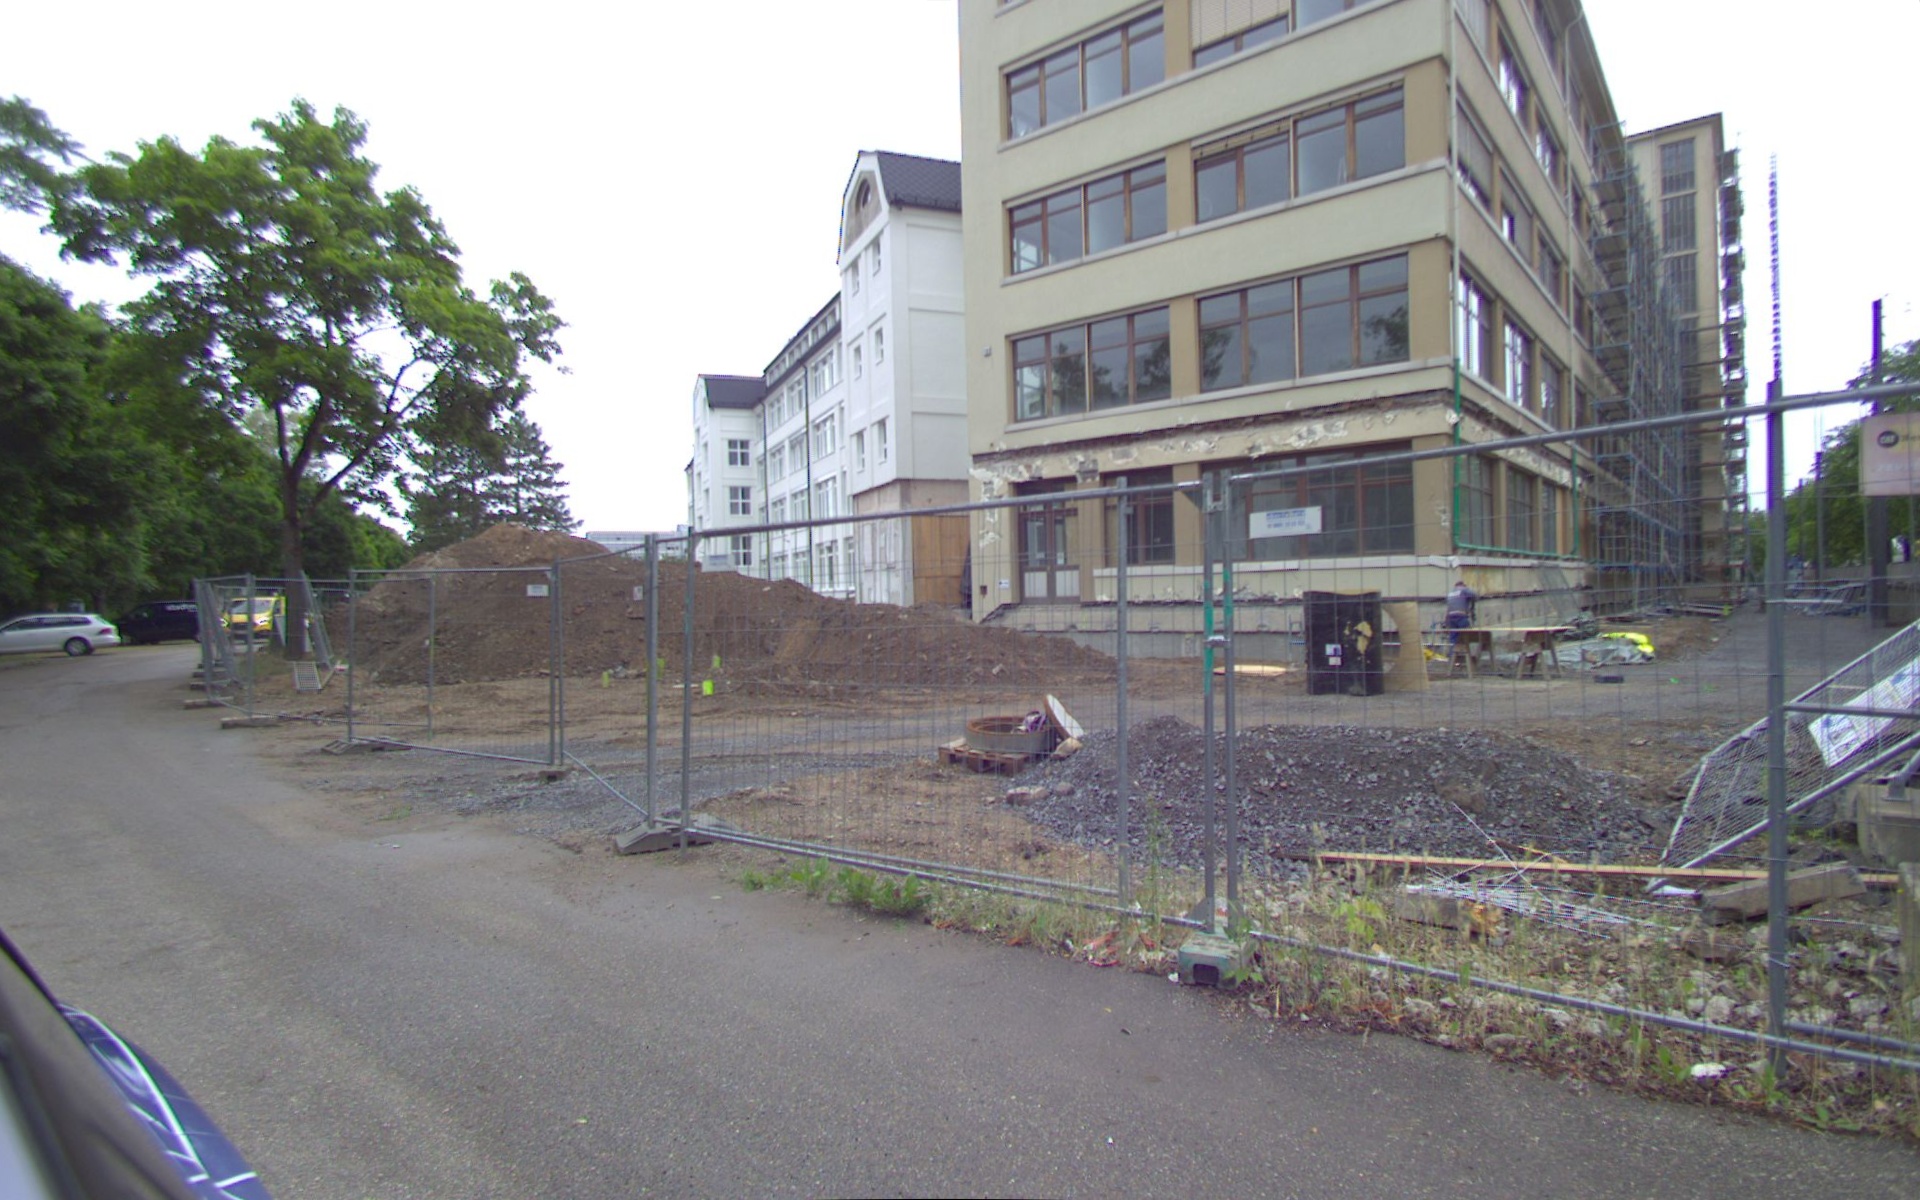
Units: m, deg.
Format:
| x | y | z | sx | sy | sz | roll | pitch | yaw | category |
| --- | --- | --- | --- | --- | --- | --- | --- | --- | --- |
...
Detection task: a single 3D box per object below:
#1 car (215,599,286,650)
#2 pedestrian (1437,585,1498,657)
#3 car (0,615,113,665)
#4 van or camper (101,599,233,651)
| x | y | z | sx | sy | sz | roll | pitch | yaw | category |
| --- | --- | --- | --- | --- | --- | --- | --- | --- | --- |
| -30.548 | 1.033 | 43.682 | 2.089 | 2.029 | 4.012 | -1 | 0 | -30 | car |
| 10.445 | 0.425 | 20.852 | 0.975 | 1.448 | 0.925 | -1 | 0 | 19 | pedestrian |
| -32.101 | 1.375 | 35.248 | 3.822 | 1.586 | 1.756 | -1 | 0 | -35 | car |
| -36.766 | 1.122 | 47.046 | 4.423 | 2.275 | 2.007 | -1 | 0 | -23 | van or camper |
